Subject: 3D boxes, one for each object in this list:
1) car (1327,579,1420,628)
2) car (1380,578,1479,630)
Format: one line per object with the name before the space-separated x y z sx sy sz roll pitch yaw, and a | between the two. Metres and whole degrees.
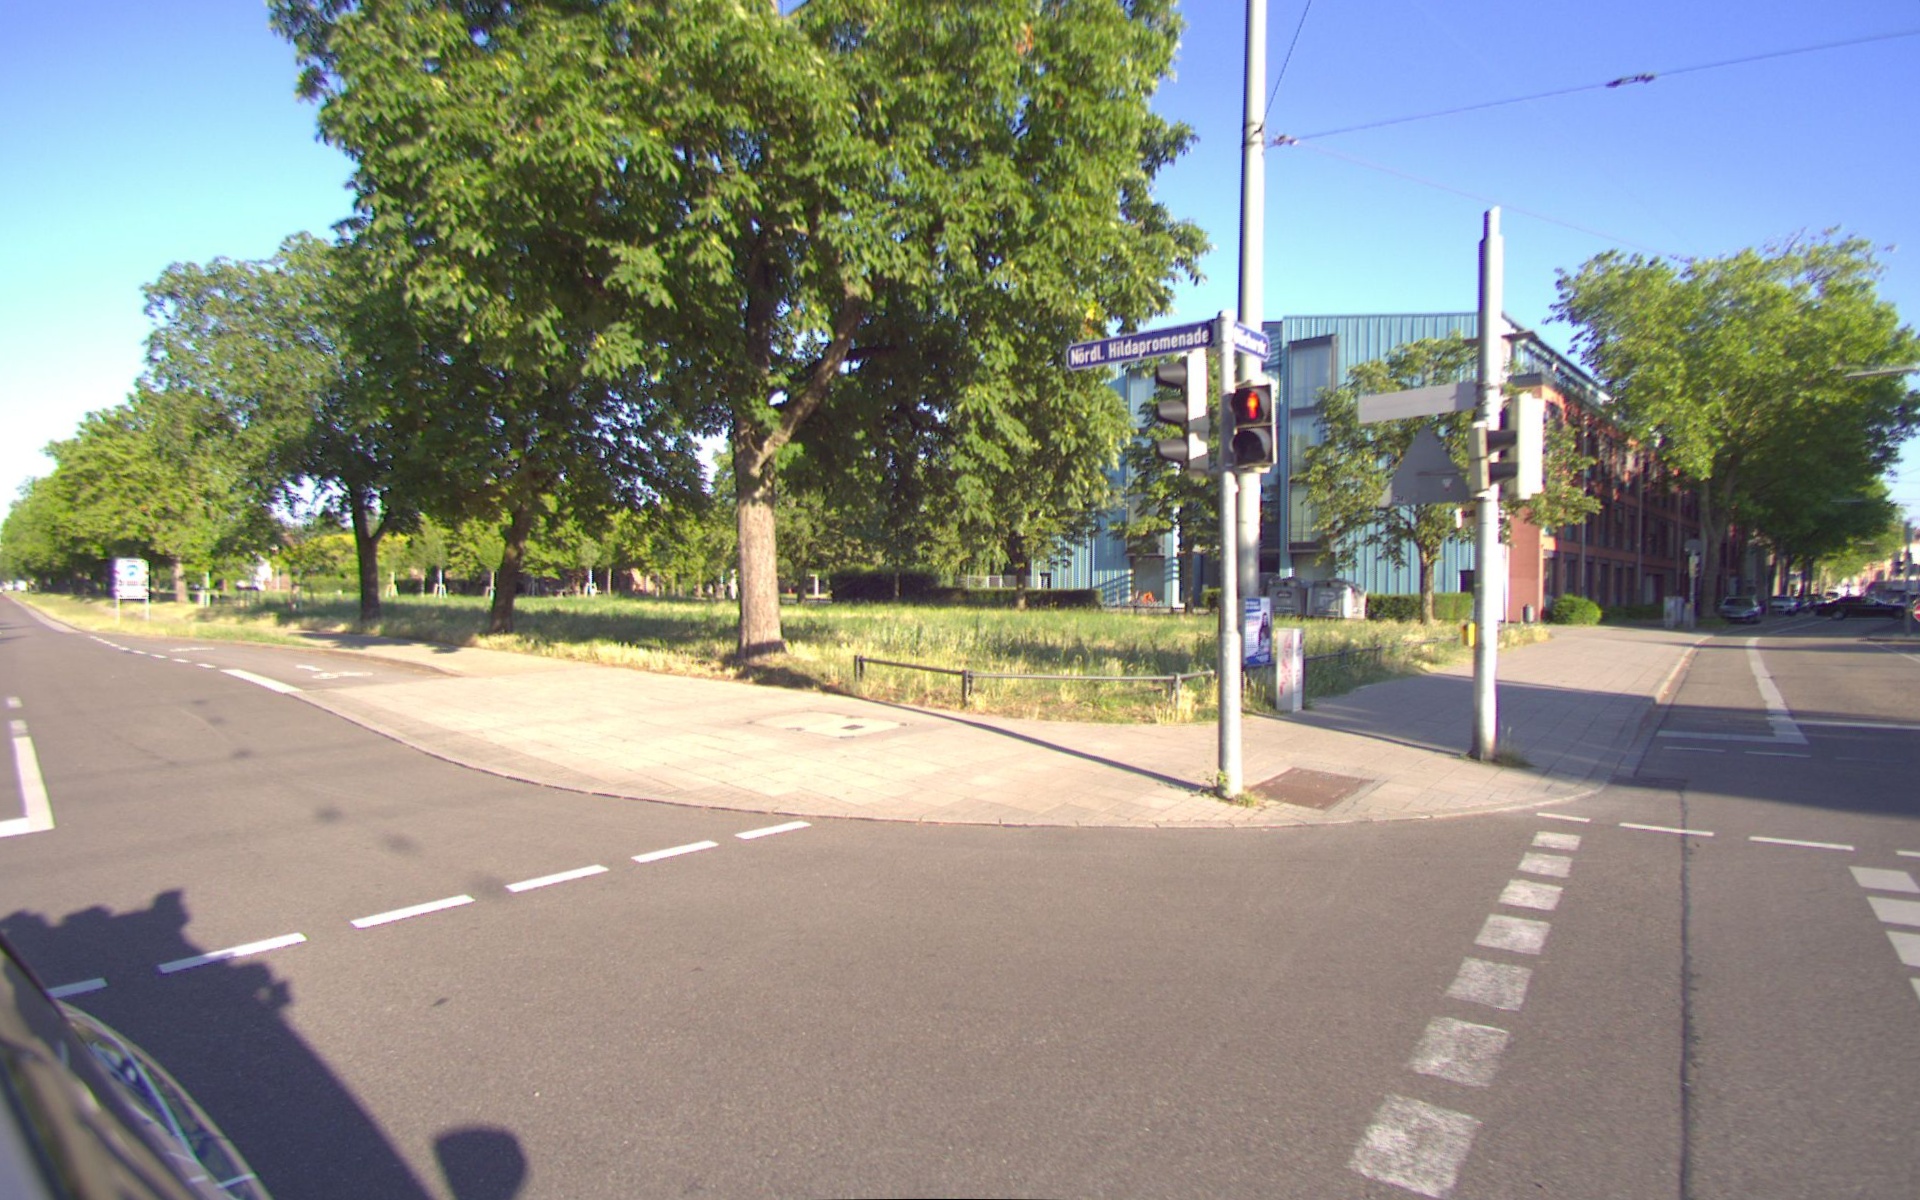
car | 16.759 0.082 40.893 1.967 1.684 5.153 2 4 41
car | 18.325 0.105 39.411 2.000 1.683 5.150 2 4 43
